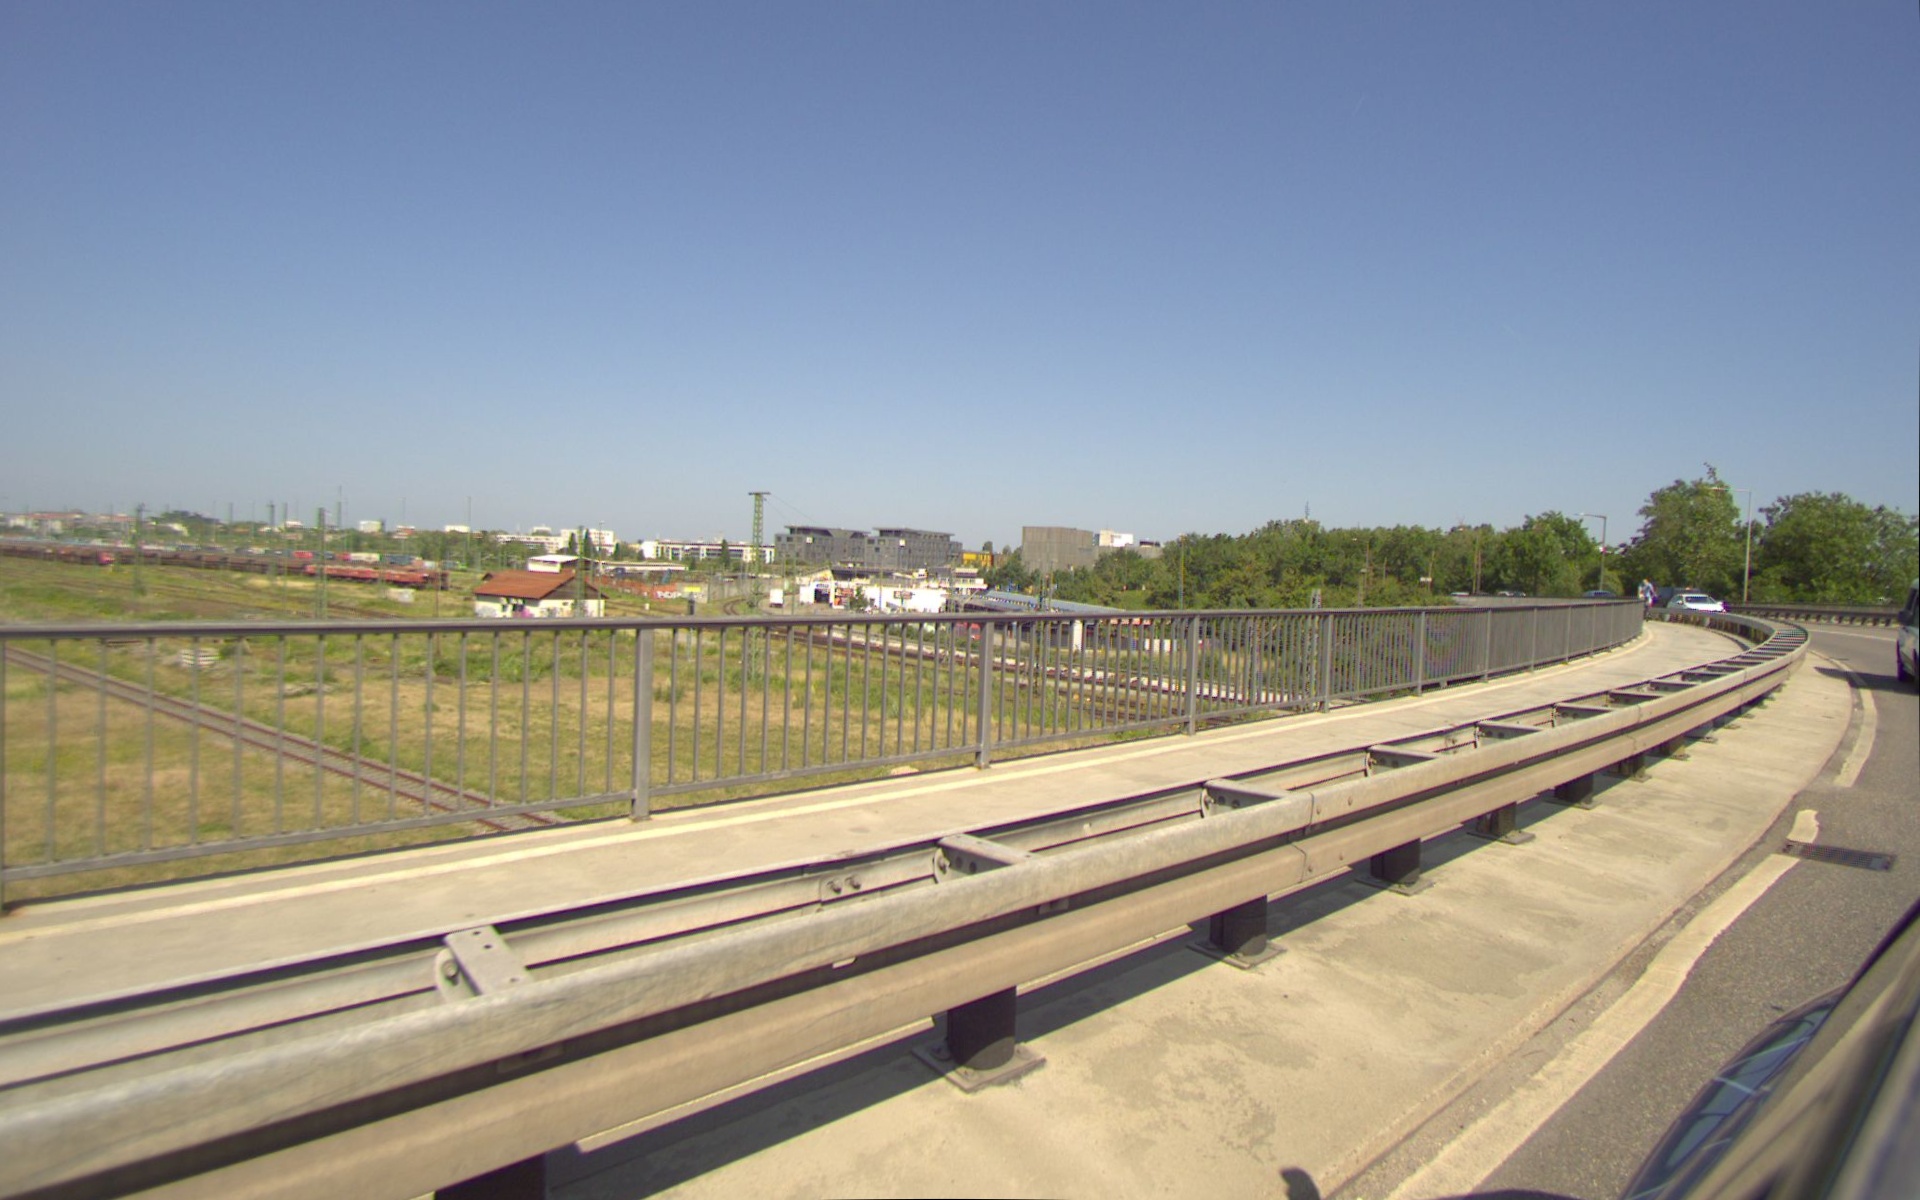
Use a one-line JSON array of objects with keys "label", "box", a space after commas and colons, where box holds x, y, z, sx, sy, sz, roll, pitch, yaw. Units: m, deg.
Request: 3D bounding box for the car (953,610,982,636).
[{"label": "car", "box": [0.874, 2.845, 125.554, 2.261, 2.695, 5.391, -4, 3, -13]}]

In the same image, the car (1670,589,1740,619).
[{"label": "car", "box": [38.685, 0.175, 52.677, 1.824, 1.507, 4.124, 0, 0, 20]}]

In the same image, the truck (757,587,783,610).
[{"label": "truck", "box": [-37.704, -0.292, 200.657, 3.742, 4.080, 13.301, 3, 0, -16]}]

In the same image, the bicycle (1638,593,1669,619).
[{"label": "bicycle", "box": [29.572, 0.248, 43.197, 0.697, 1.032, 1.830, 5, 1, 24]}]

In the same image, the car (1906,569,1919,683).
[{"label": "car", "box": [16.203, 0.417, 15.756, 1.890, 1.818, 4.383, 0, 0, 40]}]

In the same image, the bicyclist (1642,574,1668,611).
[{"label": "bicyclist", "box": [29.566, -0.320, 43.073, 0.653, 1.538, 0.797, 4, 2, 23]}]
